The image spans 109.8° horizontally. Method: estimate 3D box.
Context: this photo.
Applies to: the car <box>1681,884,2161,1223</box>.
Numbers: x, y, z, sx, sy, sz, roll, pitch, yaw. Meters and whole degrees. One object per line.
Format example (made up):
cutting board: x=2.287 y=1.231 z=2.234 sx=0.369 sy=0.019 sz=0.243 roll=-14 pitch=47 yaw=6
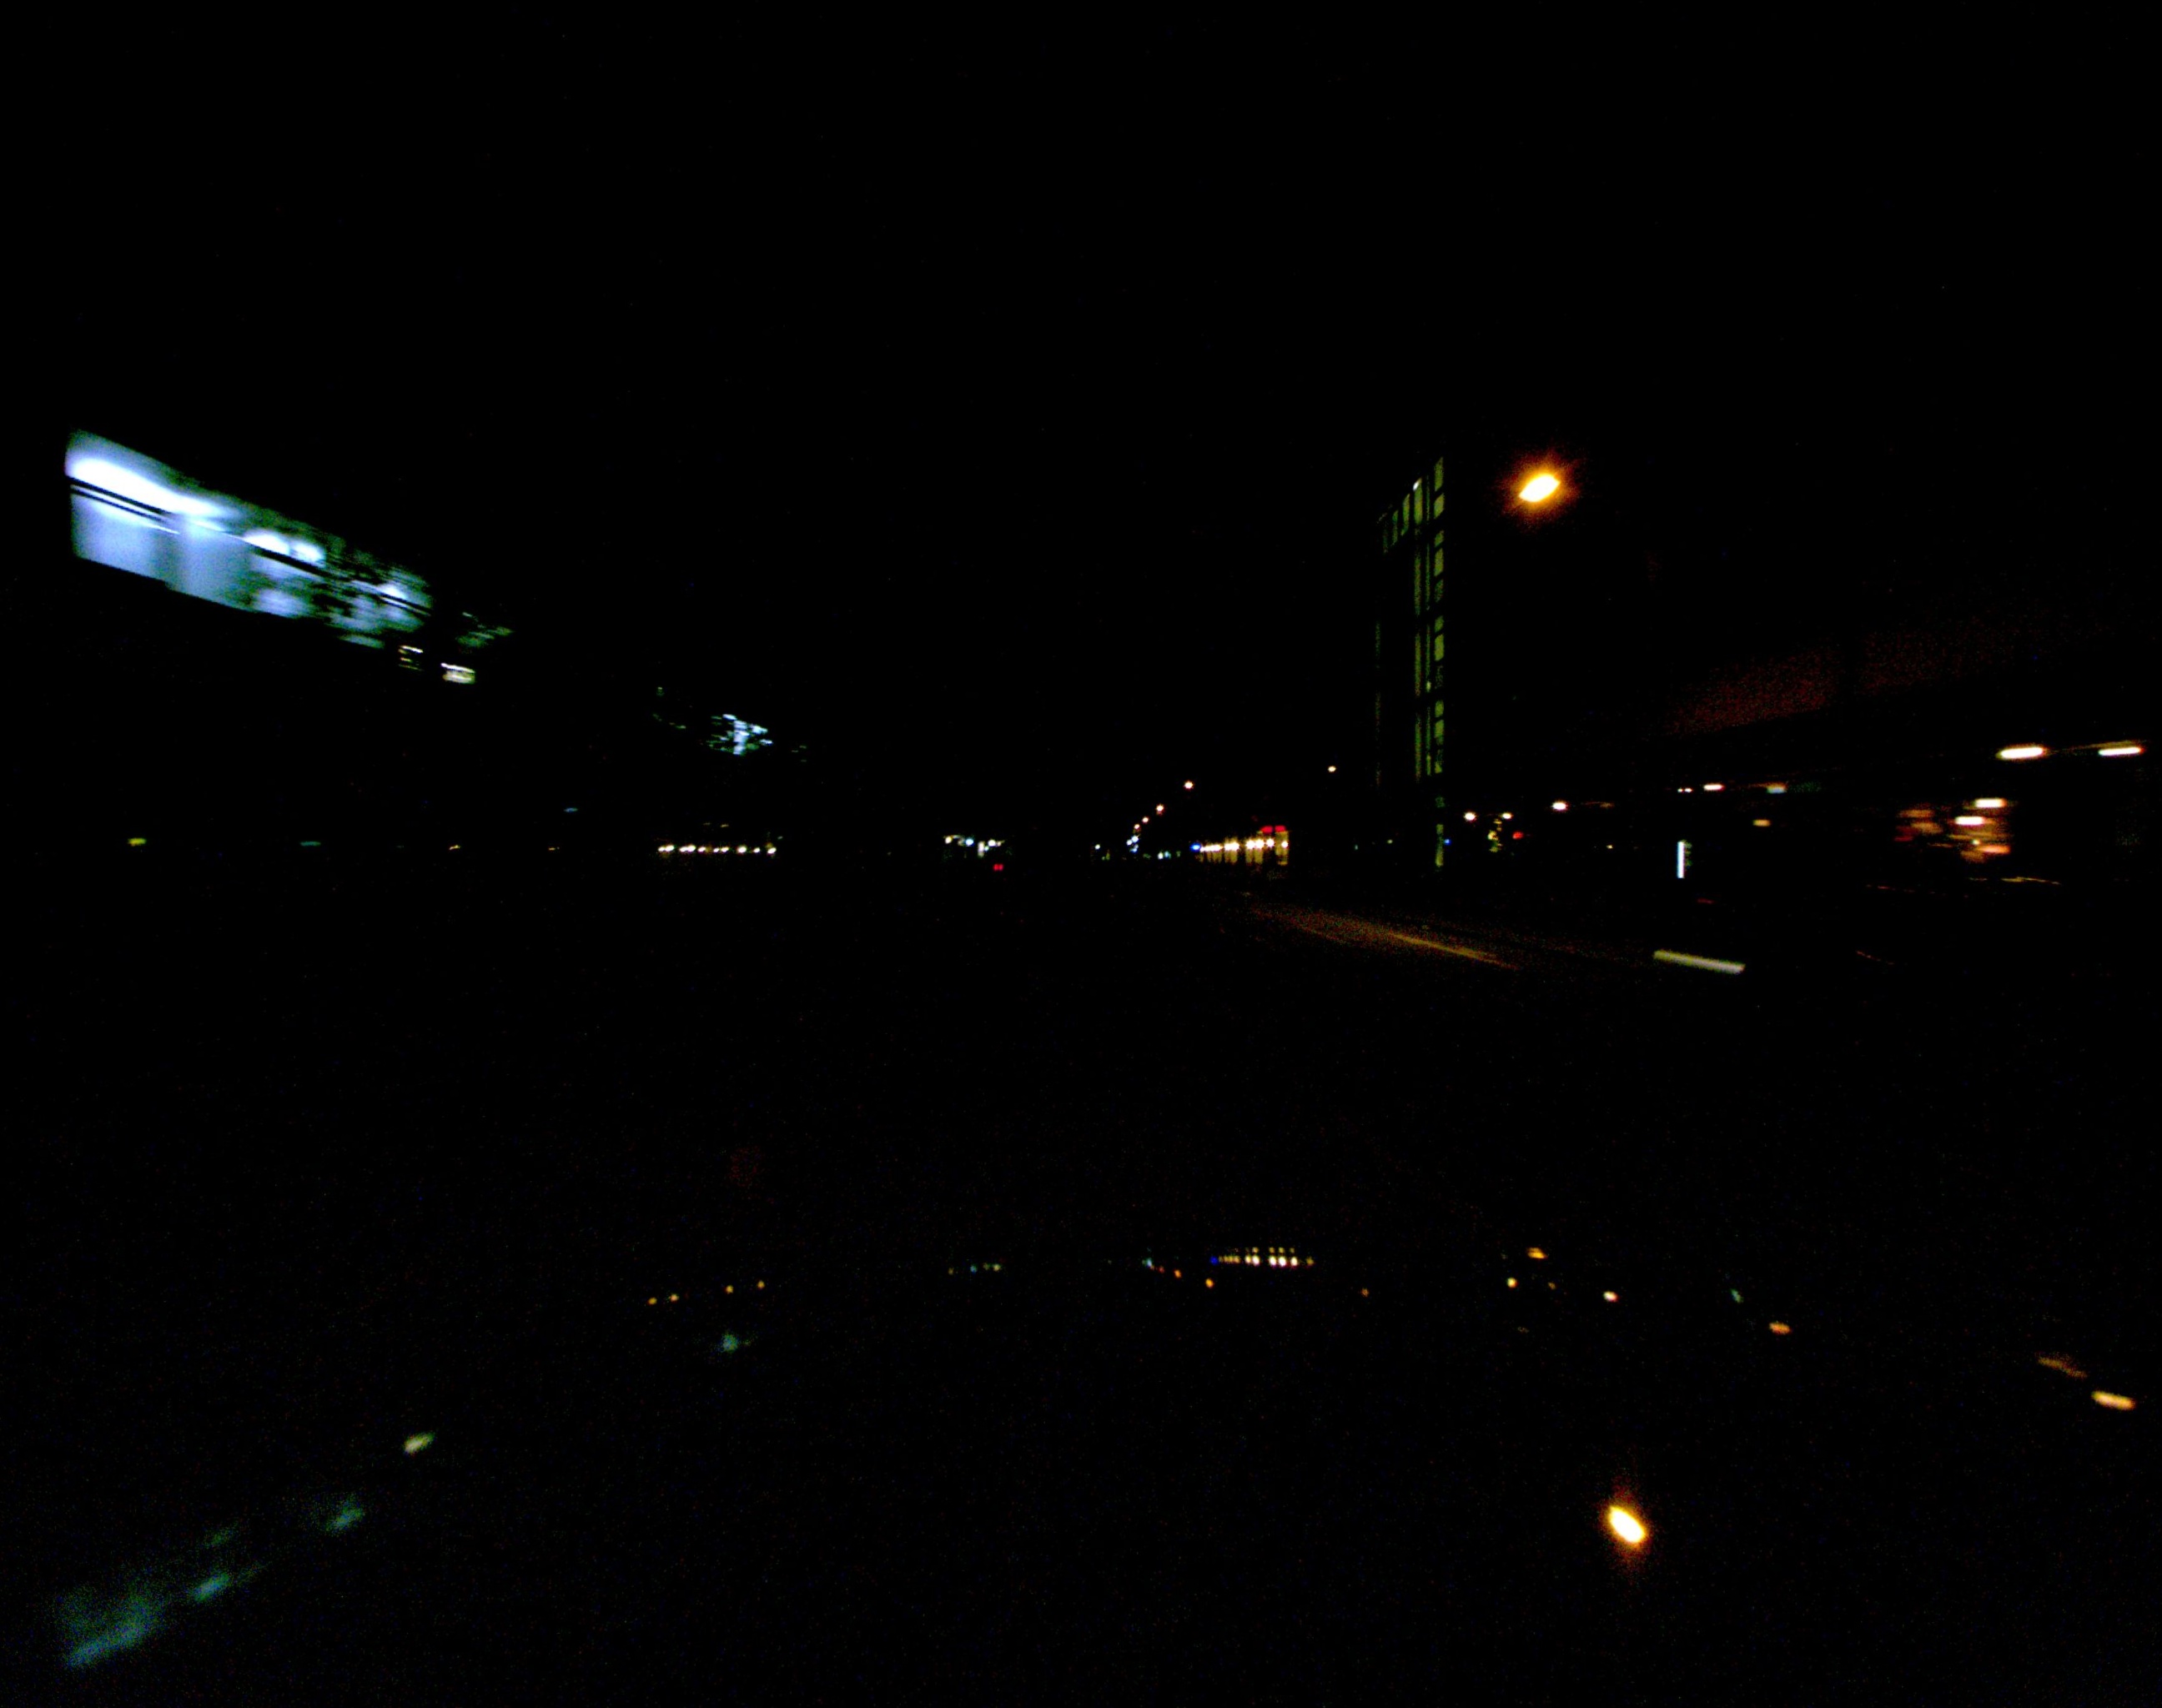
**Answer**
car: x=5.780 y=0.991 z=4.253 sx=1.671 sy=1.420 sz=4.000 roll=2 pitch=0 yaw=1
